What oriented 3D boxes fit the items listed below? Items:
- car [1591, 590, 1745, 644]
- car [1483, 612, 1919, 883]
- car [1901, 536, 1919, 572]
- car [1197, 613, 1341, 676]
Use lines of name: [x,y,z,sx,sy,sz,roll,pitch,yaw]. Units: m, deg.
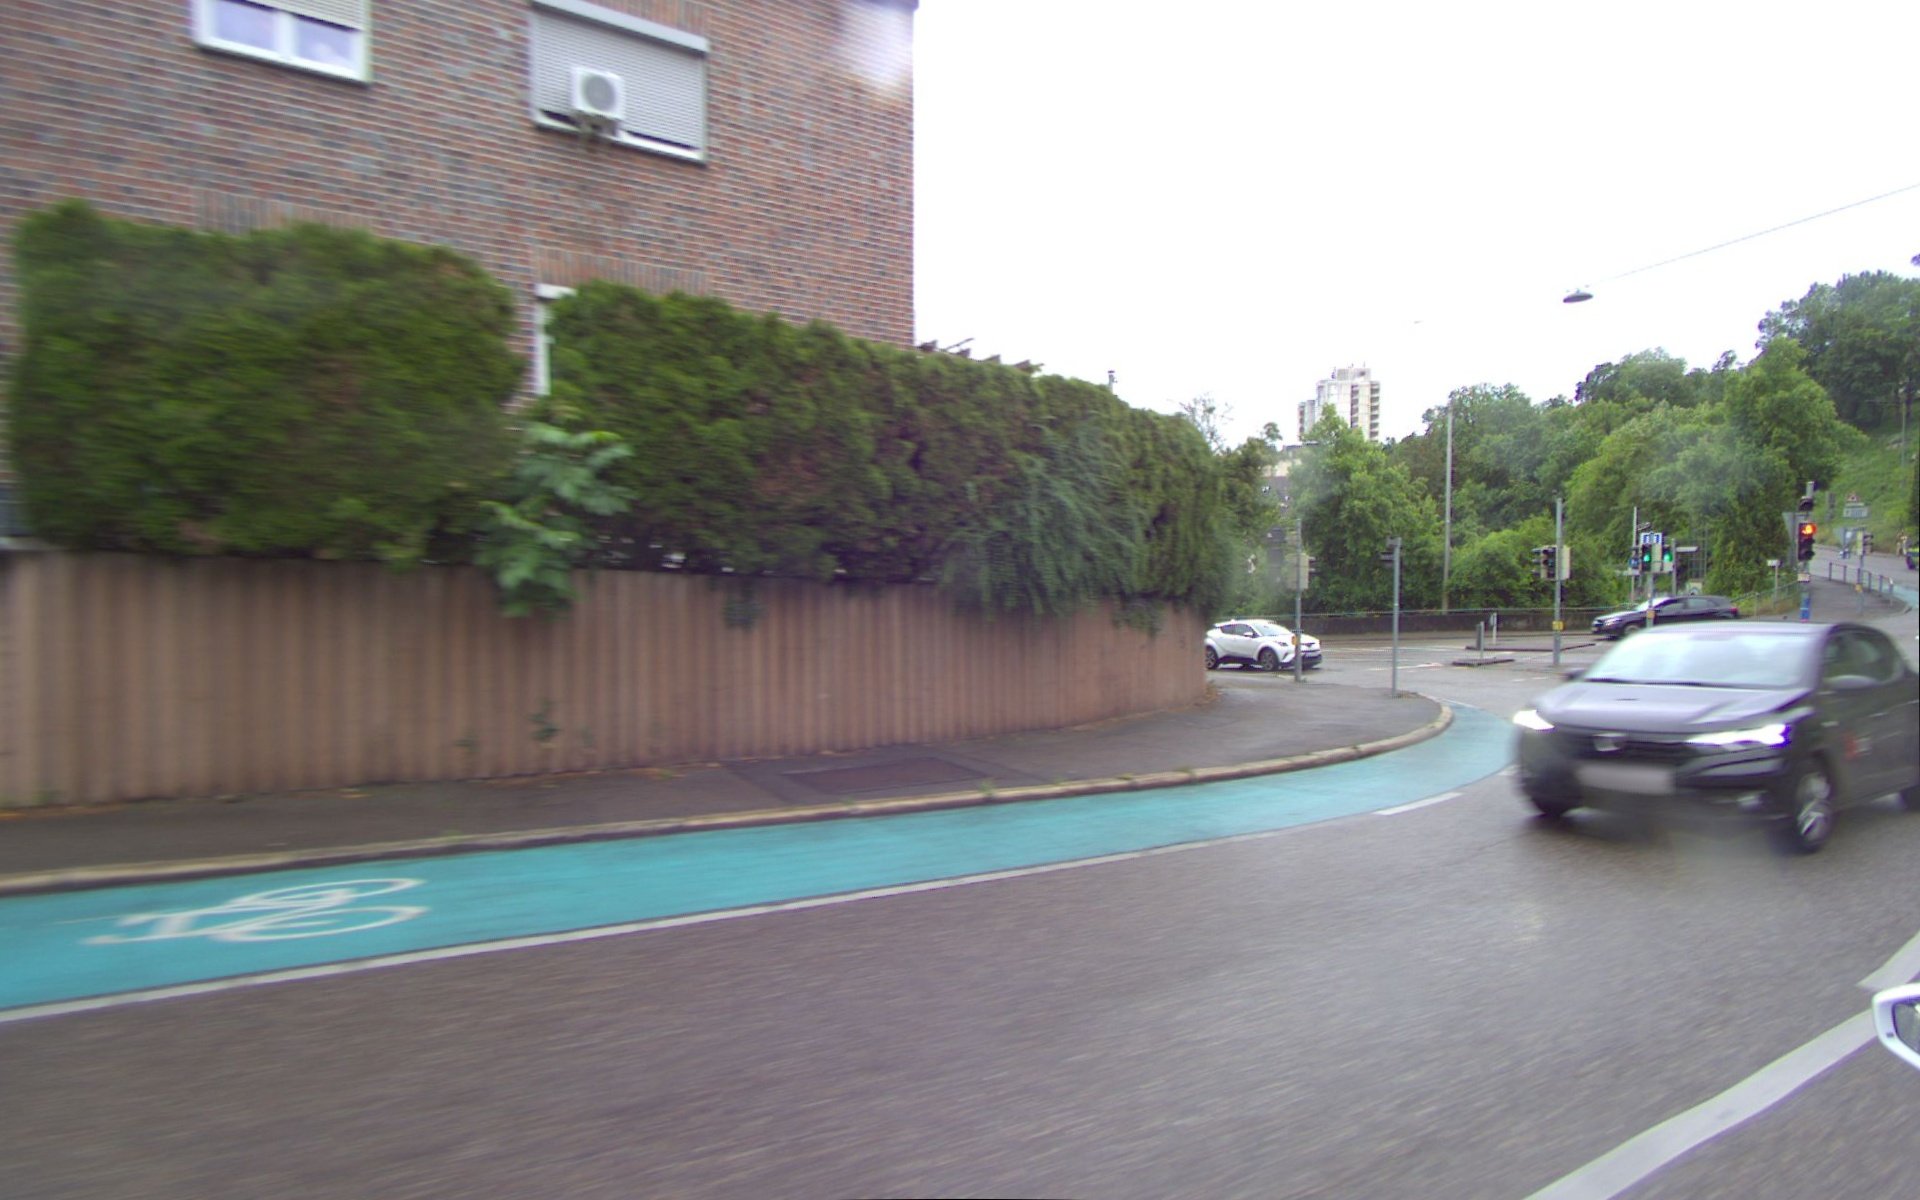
car: [24.142,0.578,34.418,3.921,1.571,1.746,-3,2,18]
car: [5.935,0.892,7.659,3.957,1.570,1.731,0,-2,-33]
car: [54.813,-2.630,55.841,2.272,1.965,4.322,-3,0,23]
car: [9.597,1.337,31.525,1.973,1.696,4.137,-4,1,-26]
